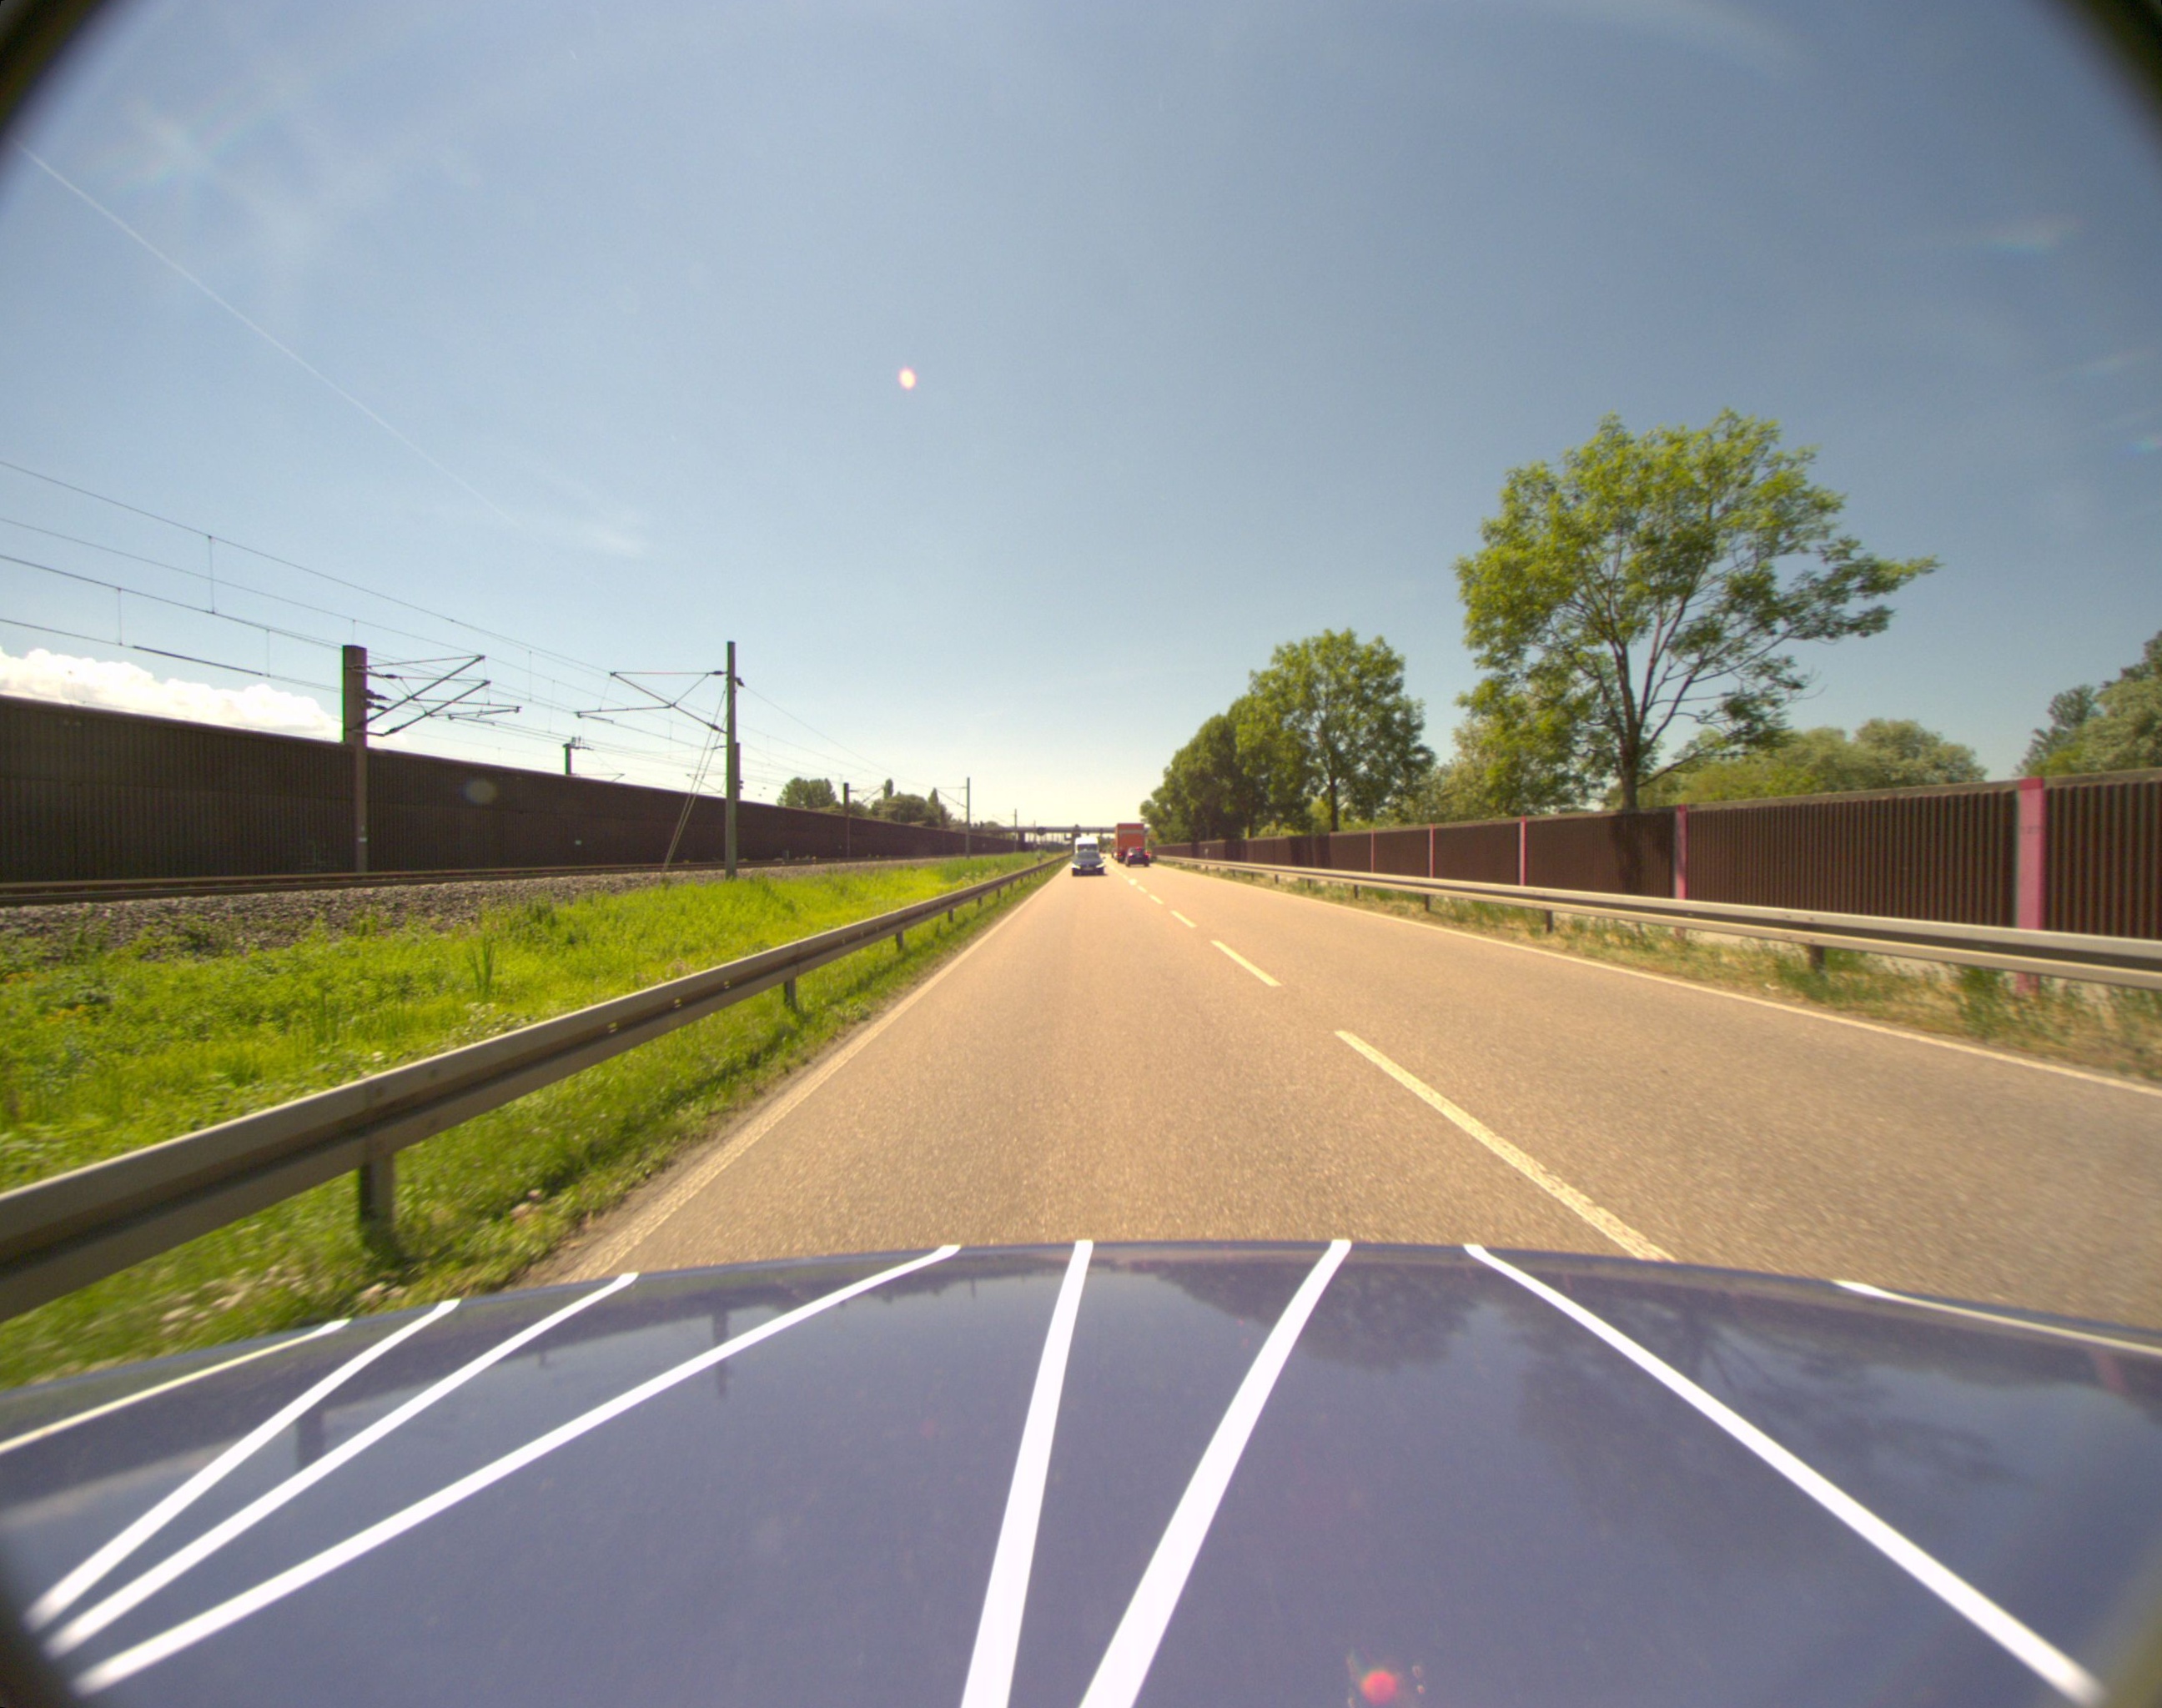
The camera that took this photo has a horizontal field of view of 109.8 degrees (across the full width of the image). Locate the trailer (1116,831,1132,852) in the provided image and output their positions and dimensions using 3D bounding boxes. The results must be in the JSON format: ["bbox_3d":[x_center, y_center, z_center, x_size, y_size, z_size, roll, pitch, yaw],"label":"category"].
[{"bbox_3d":[8.669,-2.526,154.459,2.696,4.022,14.124,-2,1,2],"label":"trailer"}]

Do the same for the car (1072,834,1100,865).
[{"bbox_3d":[0.517,-0.395,66.038,2.227,2.480,5.983,-1,0,2],"label":"car"}]

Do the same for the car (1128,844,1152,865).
[{"bbox_3d":[4.661,0.016,60.556,1.626,1.568,3.763,-1,0,1],"label":"car"}]

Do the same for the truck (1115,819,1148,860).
[{"bbox_3d":[5.043,-1.447,76.768,2.799,3.818,9.322,-2,1,1],"label":"truck"}]

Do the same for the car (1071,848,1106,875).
[{"bbox_3d":[0.479,0.379,44.312,1.847,1.415,4.562,-2,1,2],"label":"car"}]

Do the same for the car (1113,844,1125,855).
[{"bbox_3d":[5.855,-0.693,118.192,1.720,1.580,4.535,-1,1,4],"label":"car"}]

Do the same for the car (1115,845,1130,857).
[{"bbox_3d":[5.187,-0.403,95.266,1.689,1.451,4.616,-2,1,2],"label":"car"}]
